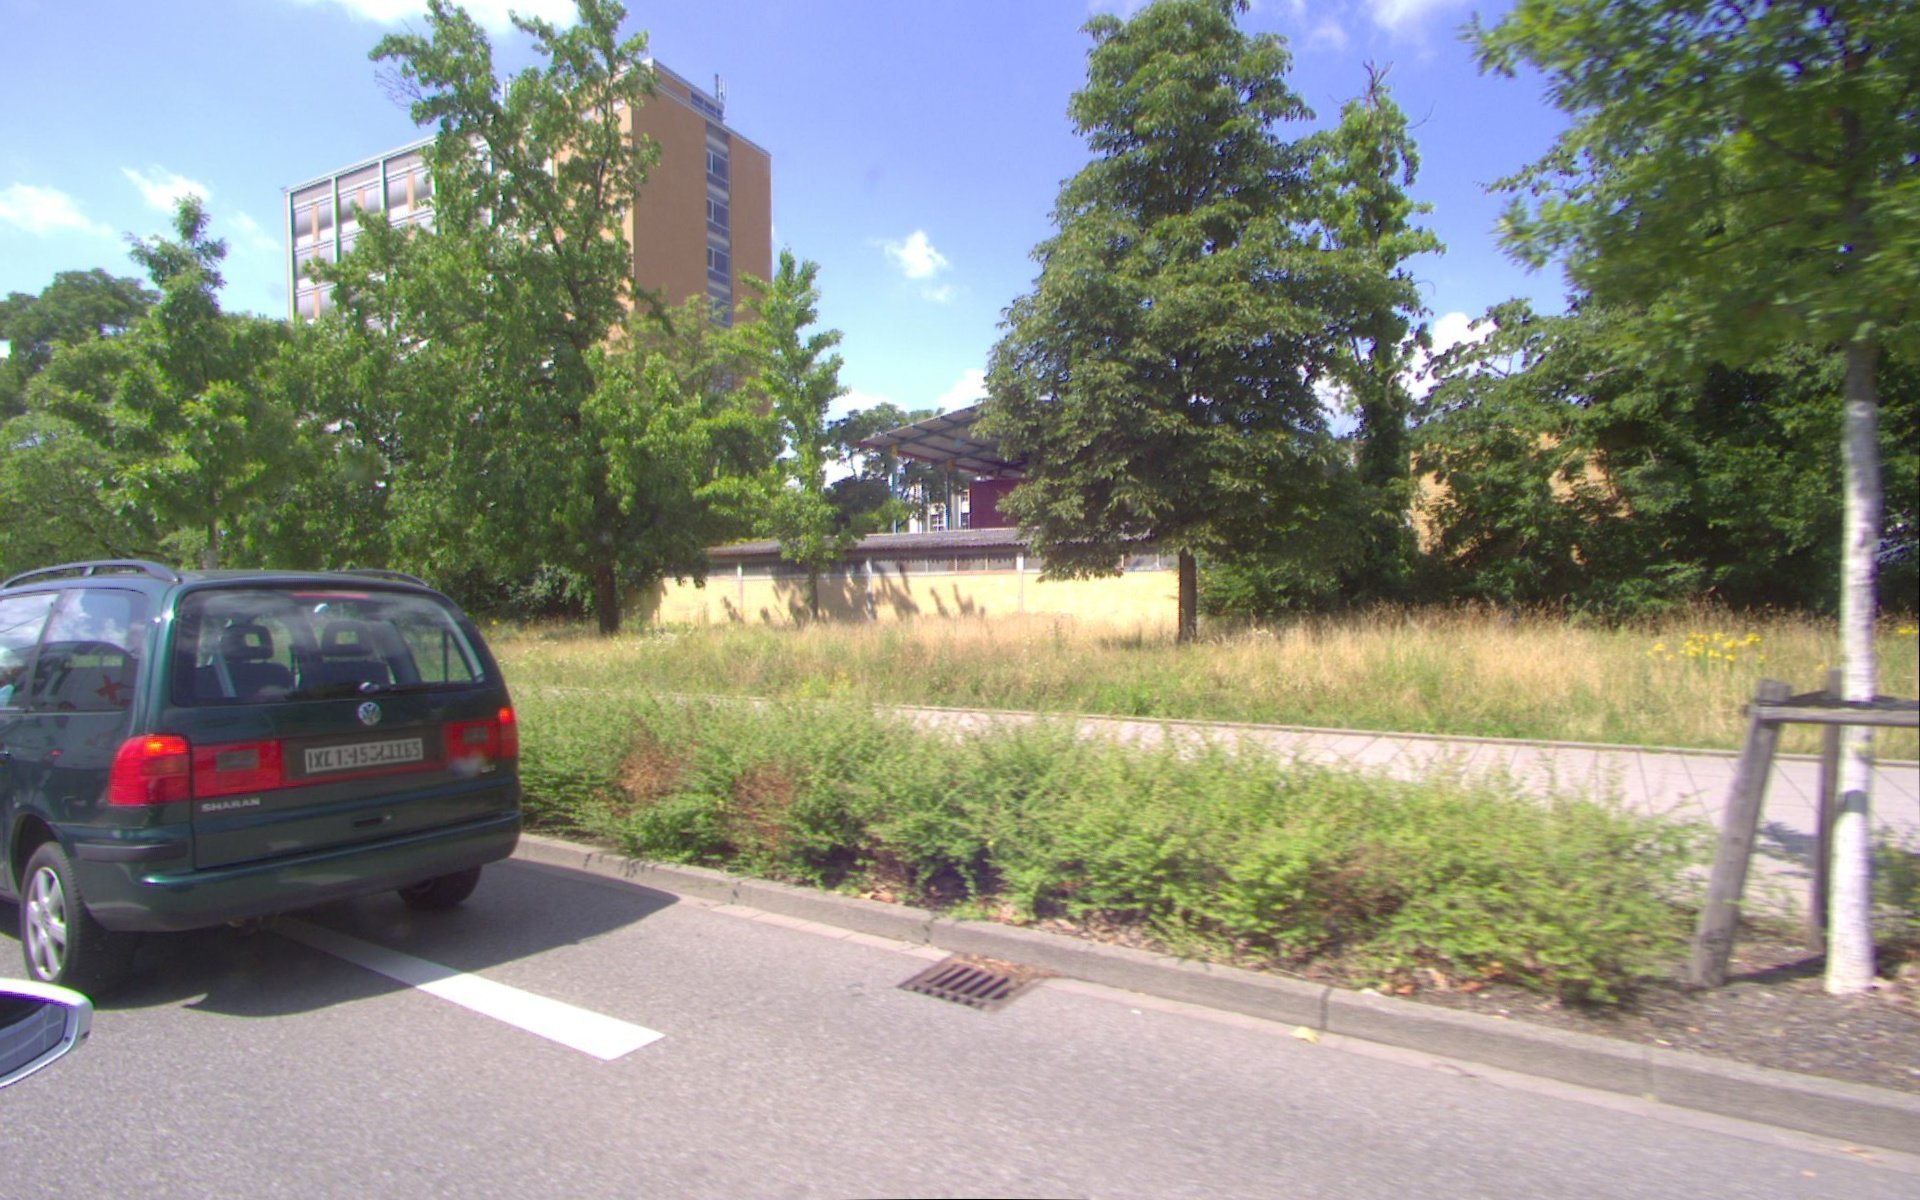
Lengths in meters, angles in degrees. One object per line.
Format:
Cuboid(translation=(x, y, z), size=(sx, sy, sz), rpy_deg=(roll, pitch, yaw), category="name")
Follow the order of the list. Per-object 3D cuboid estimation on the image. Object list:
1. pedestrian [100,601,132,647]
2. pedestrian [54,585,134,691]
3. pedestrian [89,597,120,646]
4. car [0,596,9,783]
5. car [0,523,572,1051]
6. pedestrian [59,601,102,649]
Cuboid(translation=(-37.740, 1.063, 44.772), size=(0.727, 2.040, 0.847), rpy_deg=(0, 1, -8), category="pedestrian")
Cuboid(translation=(-16.181, 0.692, 18.718), size=(0.762, 1.917, 0.948), rpy_deg=(0, 0, 32), category="pedestrian")
Cuboid(translation=(-37.413, 0.936, 43.793), size=(0.834, 2.085, 0.738), rpy_deg=(0, 1, 27), category="pedestrian")
Cuboid(translation=(-10.868, 0.821, 9.582), size=(3.945, 1.710, 1.793), rpy_deg=(0, 0, 34), category="car")
Cuboid(translation=(-4.193, 0.649, 5.266), size=(4.325, 1.757, 1.809), rpy_deg=(0, -1, 32), category="car")
Cuboid(translation=(-28.692, 0.800, 32.681), size=(0.823, 1.559, 0.843), rpy_deg=(0, 1, 32), category="pedestrian")
